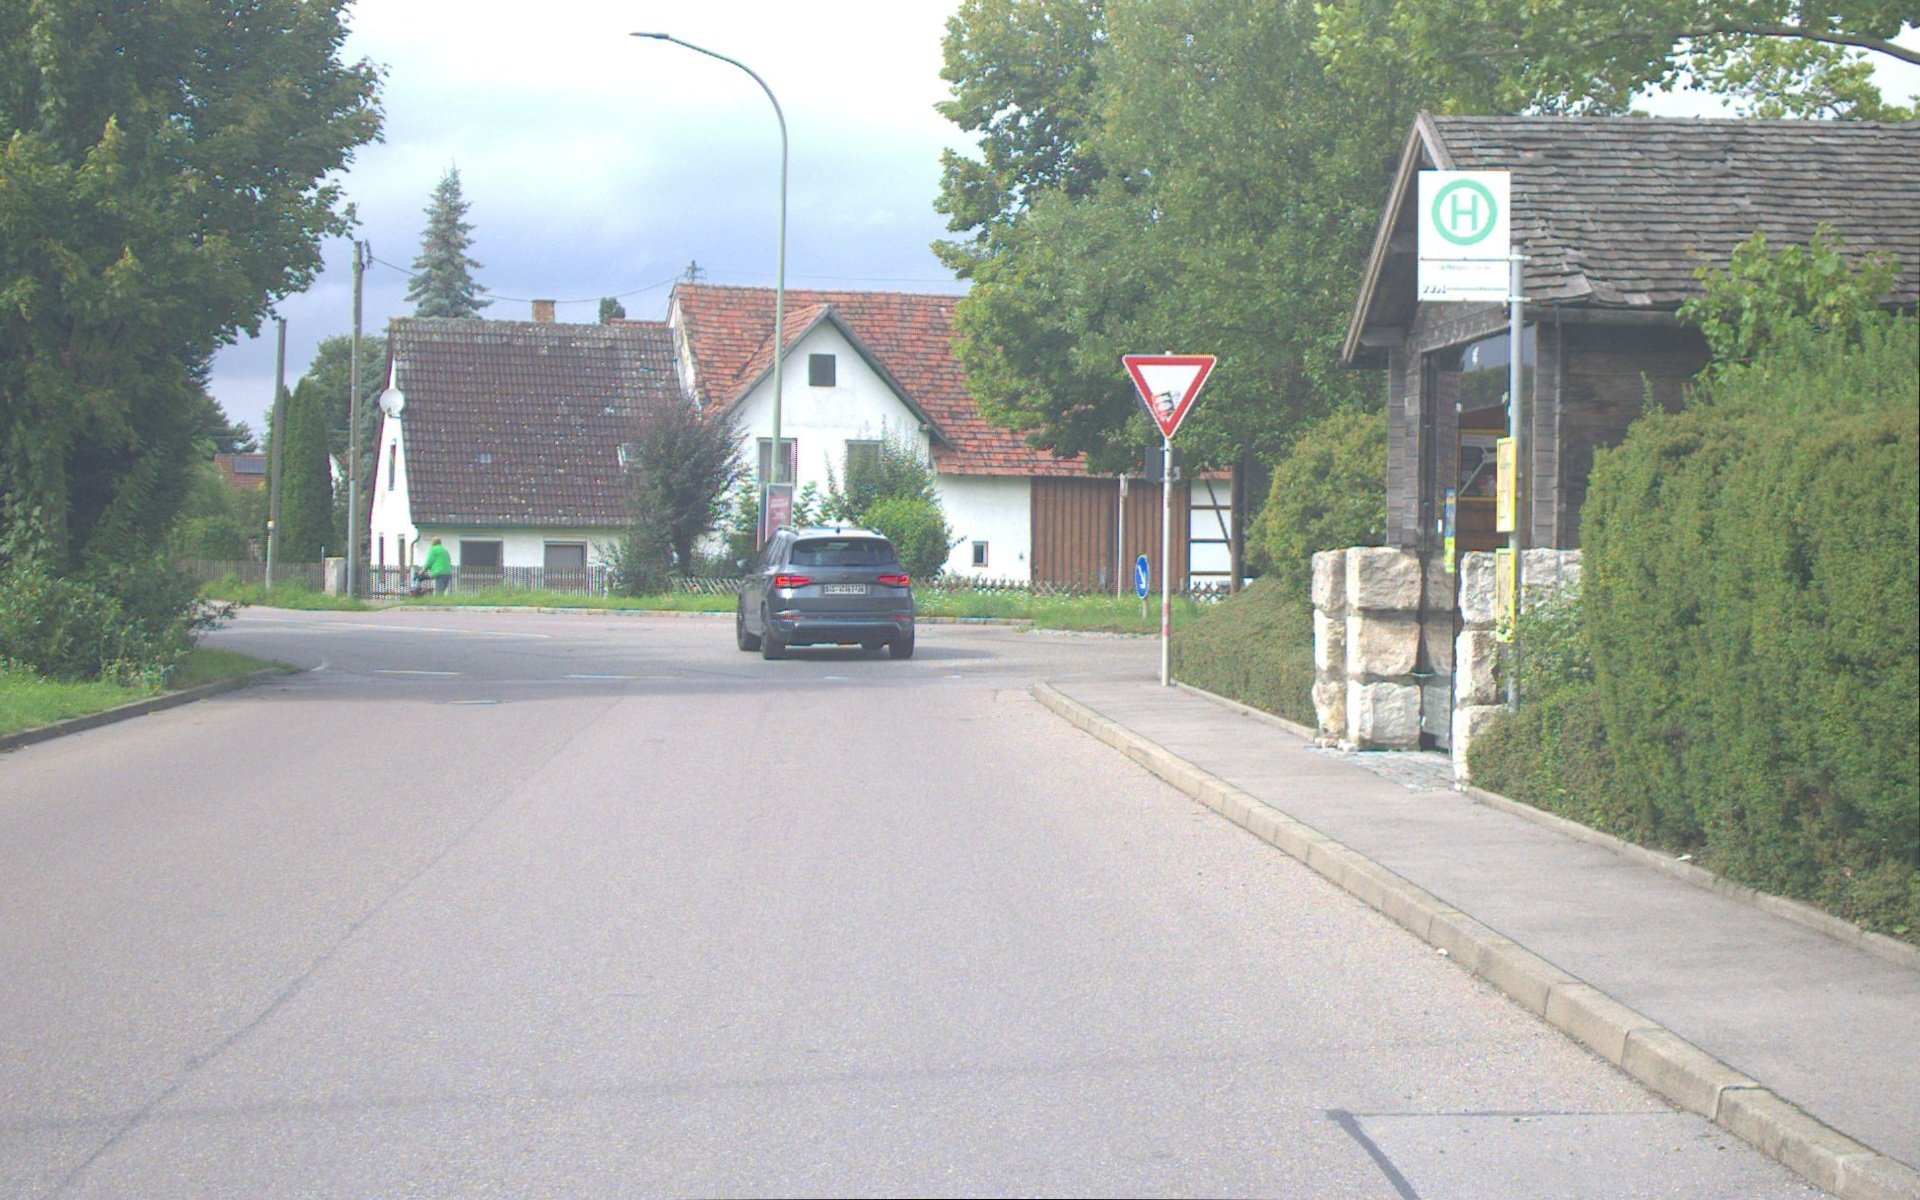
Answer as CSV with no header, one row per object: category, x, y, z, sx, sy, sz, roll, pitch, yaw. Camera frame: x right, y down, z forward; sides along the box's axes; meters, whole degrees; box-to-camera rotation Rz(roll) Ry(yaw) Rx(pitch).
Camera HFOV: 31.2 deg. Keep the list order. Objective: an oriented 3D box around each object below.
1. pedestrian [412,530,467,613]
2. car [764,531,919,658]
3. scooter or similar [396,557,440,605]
pedestrian,-10.904,-0.603,72.004,0.788,1.659,0.712,5,-2,-35
car,-1.474,-0.101,41.814,1.798,1.457,3.663,0,1,-3
scooter or similar,-11.429,-0.399,72.517,0.630,0.945,0.622,5,-2,-35
